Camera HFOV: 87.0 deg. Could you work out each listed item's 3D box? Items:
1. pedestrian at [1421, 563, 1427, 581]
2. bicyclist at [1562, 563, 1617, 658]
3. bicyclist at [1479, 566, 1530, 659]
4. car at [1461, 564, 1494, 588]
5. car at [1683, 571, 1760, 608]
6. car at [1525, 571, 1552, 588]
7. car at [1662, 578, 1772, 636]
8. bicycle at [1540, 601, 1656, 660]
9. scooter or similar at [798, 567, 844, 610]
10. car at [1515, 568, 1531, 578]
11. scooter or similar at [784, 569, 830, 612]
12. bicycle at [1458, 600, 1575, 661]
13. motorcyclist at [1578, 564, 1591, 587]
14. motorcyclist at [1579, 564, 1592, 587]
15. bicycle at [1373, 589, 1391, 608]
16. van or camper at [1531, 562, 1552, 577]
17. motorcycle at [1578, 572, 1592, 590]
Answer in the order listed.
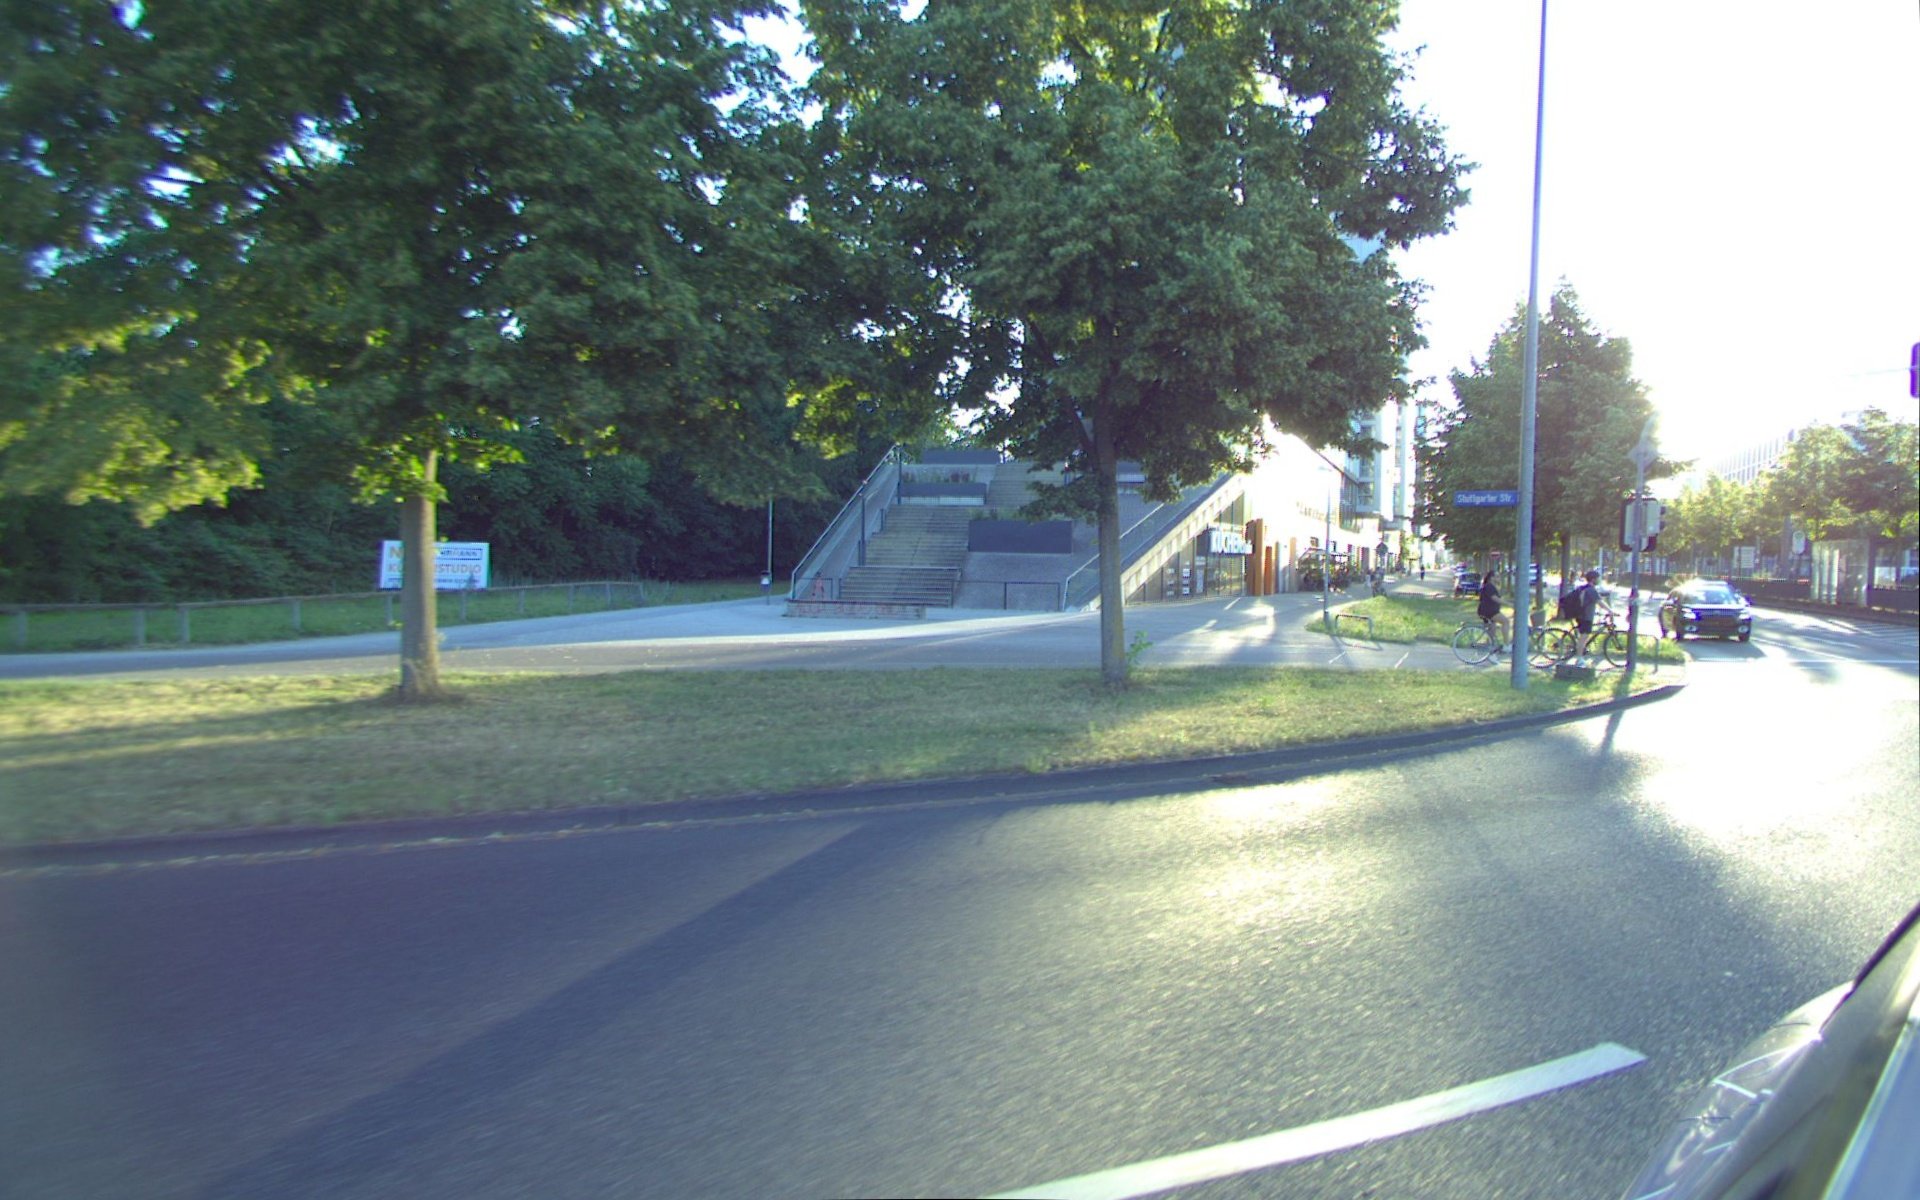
[{"bbox_3d":[53.584,-3.237,116.902,0.533,2.038,0.522,1,1,27],"label":"pedestrian"},{"bbox_3d":[12.103,0.178,19.463,0.843,1.777,0.794,2,2,34],"label":"bicyclist"},{"bbox_3d":[10.037,0.214,18.682,0.675,1.668,0.680,1,2,18],"label":"bicyclist"},{"bbox_3d":[33.355,-1.549,65.269,1.786,1.482,3.964,2,2,27],"label":"car"},{"bbox_3d":[32.277,-0.475,43.007,1.786,1.440,4.409,2,2,27],"label":"car"},{"bbox_3d":[53.524,-1.926,93.647,1.874,1.499,4.015,2,3,27],"label":"car"},{"bbox_3d":[21.527,0.139,28.943,1.786,1.482,3.964,2,2,27],"label":"car"},{"bbox_3d":[12.303,0.576,19.552,1.851,1.035,0.432,2,2,35],"label":"bicycle"},{"bbox_3d":[-4.176,-0.359,30.257,1.568,1.235,0.361,2,2,38],"label":"scooter or similar"},{"bbox_3d":[92.576,-4.412,166.361,1.874,1.642,3.968,1,2,24],"label":"car"},{"bbox_3d":[-4.517,-0.293,29.815,1.568,1.235,0.361,2,2,38],"label":"scooter or similar"},{"bbox_3d":[10.168,0.550,18.538,1.838,1.035,0.306,1,2,18],"label":"bicycle"},{"bbox_3d":[40.111,-1.589,65.033,0.630,1.425,0.589,1,2,27],"label":"motorcyclist"},{"bbox_3d":[39.817,-1.569,64.445,0.630,1.433,0.708,1,2,27],"label":"motorcyclist"},{"bbox_3d":[21.129,-0.094,50.675,0.545,0.862,2.618,2,2,28],"label":"bicycle"},{"bbox_3d":[78.802,-4.109,137.204,1.980,1.981,5.283,2,3,26],"label":"van or camper"},{"bbox_3d":[40.018,-1.233,64.837,0.553,1.114,2.140,1,2,27],"label":"motorcycle"}]
